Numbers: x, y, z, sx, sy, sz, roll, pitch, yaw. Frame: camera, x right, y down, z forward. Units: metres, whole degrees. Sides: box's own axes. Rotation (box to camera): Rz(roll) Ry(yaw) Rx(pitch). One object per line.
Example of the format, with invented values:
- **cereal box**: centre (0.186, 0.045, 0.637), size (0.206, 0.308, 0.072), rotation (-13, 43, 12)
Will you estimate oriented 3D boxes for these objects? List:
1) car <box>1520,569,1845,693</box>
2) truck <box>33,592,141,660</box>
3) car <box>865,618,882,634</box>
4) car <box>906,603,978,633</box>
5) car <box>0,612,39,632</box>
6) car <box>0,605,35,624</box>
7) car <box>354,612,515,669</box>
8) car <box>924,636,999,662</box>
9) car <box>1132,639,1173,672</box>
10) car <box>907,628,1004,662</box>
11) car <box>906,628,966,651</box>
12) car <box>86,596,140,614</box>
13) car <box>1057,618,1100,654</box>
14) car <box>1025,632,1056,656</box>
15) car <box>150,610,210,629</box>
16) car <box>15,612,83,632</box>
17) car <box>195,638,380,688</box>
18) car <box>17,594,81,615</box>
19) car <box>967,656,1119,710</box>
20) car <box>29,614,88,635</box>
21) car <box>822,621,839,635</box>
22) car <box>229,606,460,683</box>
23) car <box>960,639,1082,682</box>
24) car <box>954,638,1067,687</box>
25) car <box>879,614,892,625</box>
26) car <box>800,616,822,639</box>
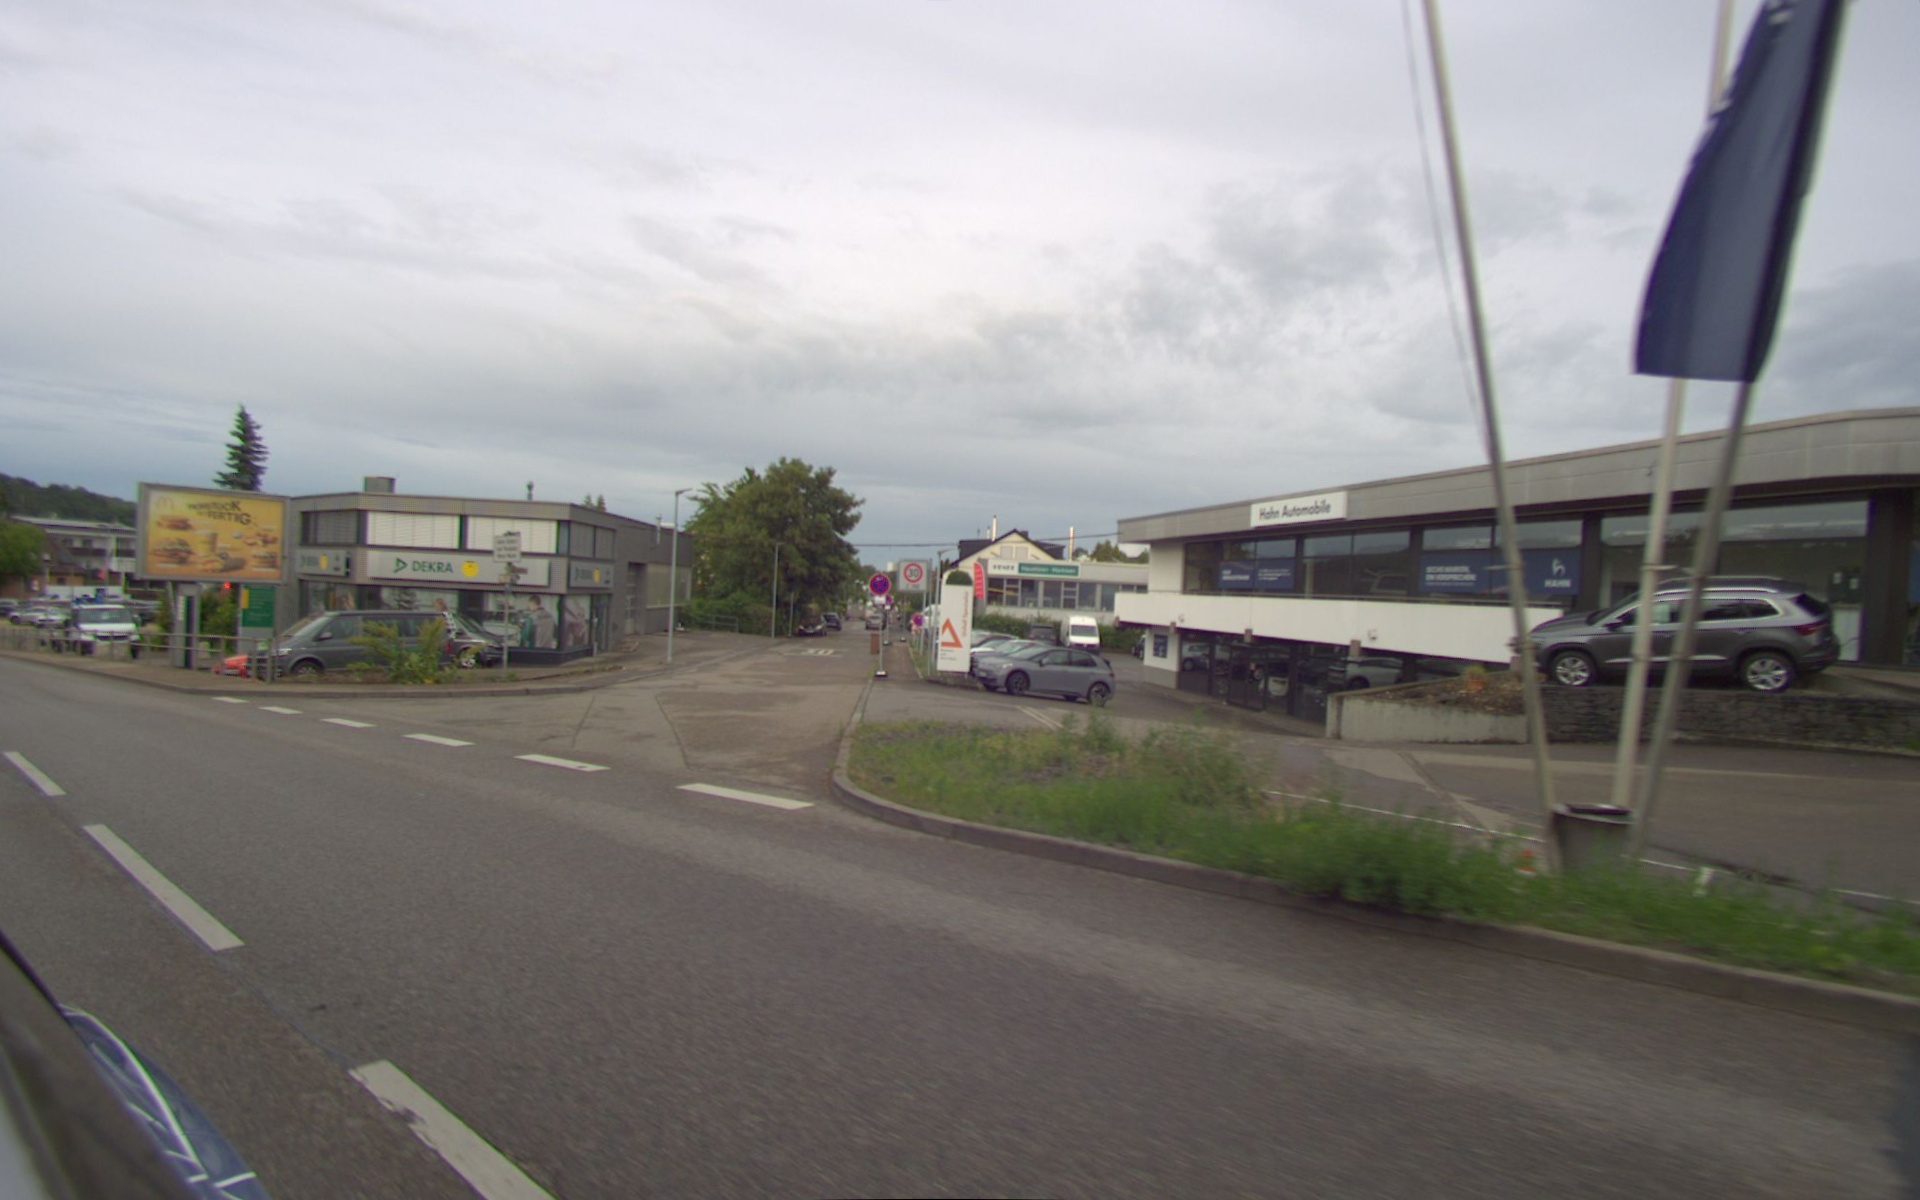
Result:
- **car**: centre (11.845, 0.484, 16.822), size (4.252, 1.814, 1.383), rotation (0, -2, 44)
- **truck**: centre (-37.149, 1.059, 42.954), size (7.882, 2.653, 1.974), rotation (0, -2, 39)
- **car**: centre (-8.153, 2.414, 94.802), size (1.488, 1.470, 3.441), rotation (1, -2, -6)
- **car**: centre (-1.525, 1.480, 83.762), size (5.791, 2.387, 2.148), rotation (1, 0, -3)
- **car**: centre (-75.782, 1.708, 80.137), size (3.987, 1.463, 1.790), rotation (2, -1, 1)
- **car**: centre (-84.398, 1.231, 89.349), size (3.715, 1.562, 1.596), rotation (2, -1, -8)
- **car**: centre (-18.973, 1.426, 36.674), size (4.807, 2.002, 2.000), rotation (0, -1, -1)
- **car**: centre (0.099, 2.475, 51.347), size (3.440, 1.299, 1.595), rotation (1, -2, -23)
- **car**: centre (12.612, 3.600, 66.430), size (1.792, 2.029, 4.000), rotation (3, -2, -1)
- **car**: centre (-0.204, 1.997, 45.095), size (3.921, 1.439, 1.850), rotation (1, -2, -23)
- **car**: centre (-1.324, 2.187, 56.156), size (3.010, 1.197, 1.386), rotation (1, -2, -23)
- **car**: centre (-98.220, 0.644, 117.471), size (2.025, 1.878, 4.920), rotation (2, -2, 1)
- **car**: centre (7.590, 2.252, 65.254), size (1.971, 2.029, 5.880), rotation (1, 0, -1)
- **car**: centre (5.210, 2.820, 65.765), size (1.511, 1.502, 3.066), rotation (1, -2, -4)
- **car**: centre (-68.860, 1.732, 89.406), size (3.992, 1.566, 1.788), rotation (2, -1, 5)
- **car**: centre (-74.607, 1.820, 82.903), size (3.987, 1.463, 1.790), rotation (2, -1, 1)
- **car**: centre (-19.150, 1.748, 29.009), size (1.762, 1.277, 4.065), rotation (0, -2, 28)
- **car**: centre (-98.546, 0.517, 109.592), size (2.025, 2.102, 5.253), rotation (2, -2, 1)
- **car**: centre (2.434, 2.390, 29.783), size (4.034, 1.439, 1.896), rotation (1, -2, -23)
- **car**: centre (-68.634, 1.853, 77.138), size (1.760, 1.521, 4.056), rotation (2, -1, -17)
- **car**: centre (-10.981, 2.375, 86.154), size (1.360, 1.197, 3.067), rotation (1, -2, -6)
- **car**: centre (-16.411, 1.175, 27.298), size (1.817, 1.885, 5.027), rotation (0, -2, 33)
- **car**: centre (2.144, 2.106, 35.722), size (3.921, 1.439, 1.785), rotation (1, -2, -23)
- **car**: centre (1.942, 2.369, 38.947), size (3.921, 1.802, 1.826), rotation (1, -2, -23)
- **car**: centre (-8.913, 2.352, 121.242), size (1.360, 1.197, 3.067), rotation (1, -2, -6)
- **car**: centre (-10.353, 1.892, 70.456), size (1.384, 1.559, 3.219), rotation (1, -2, -6)
